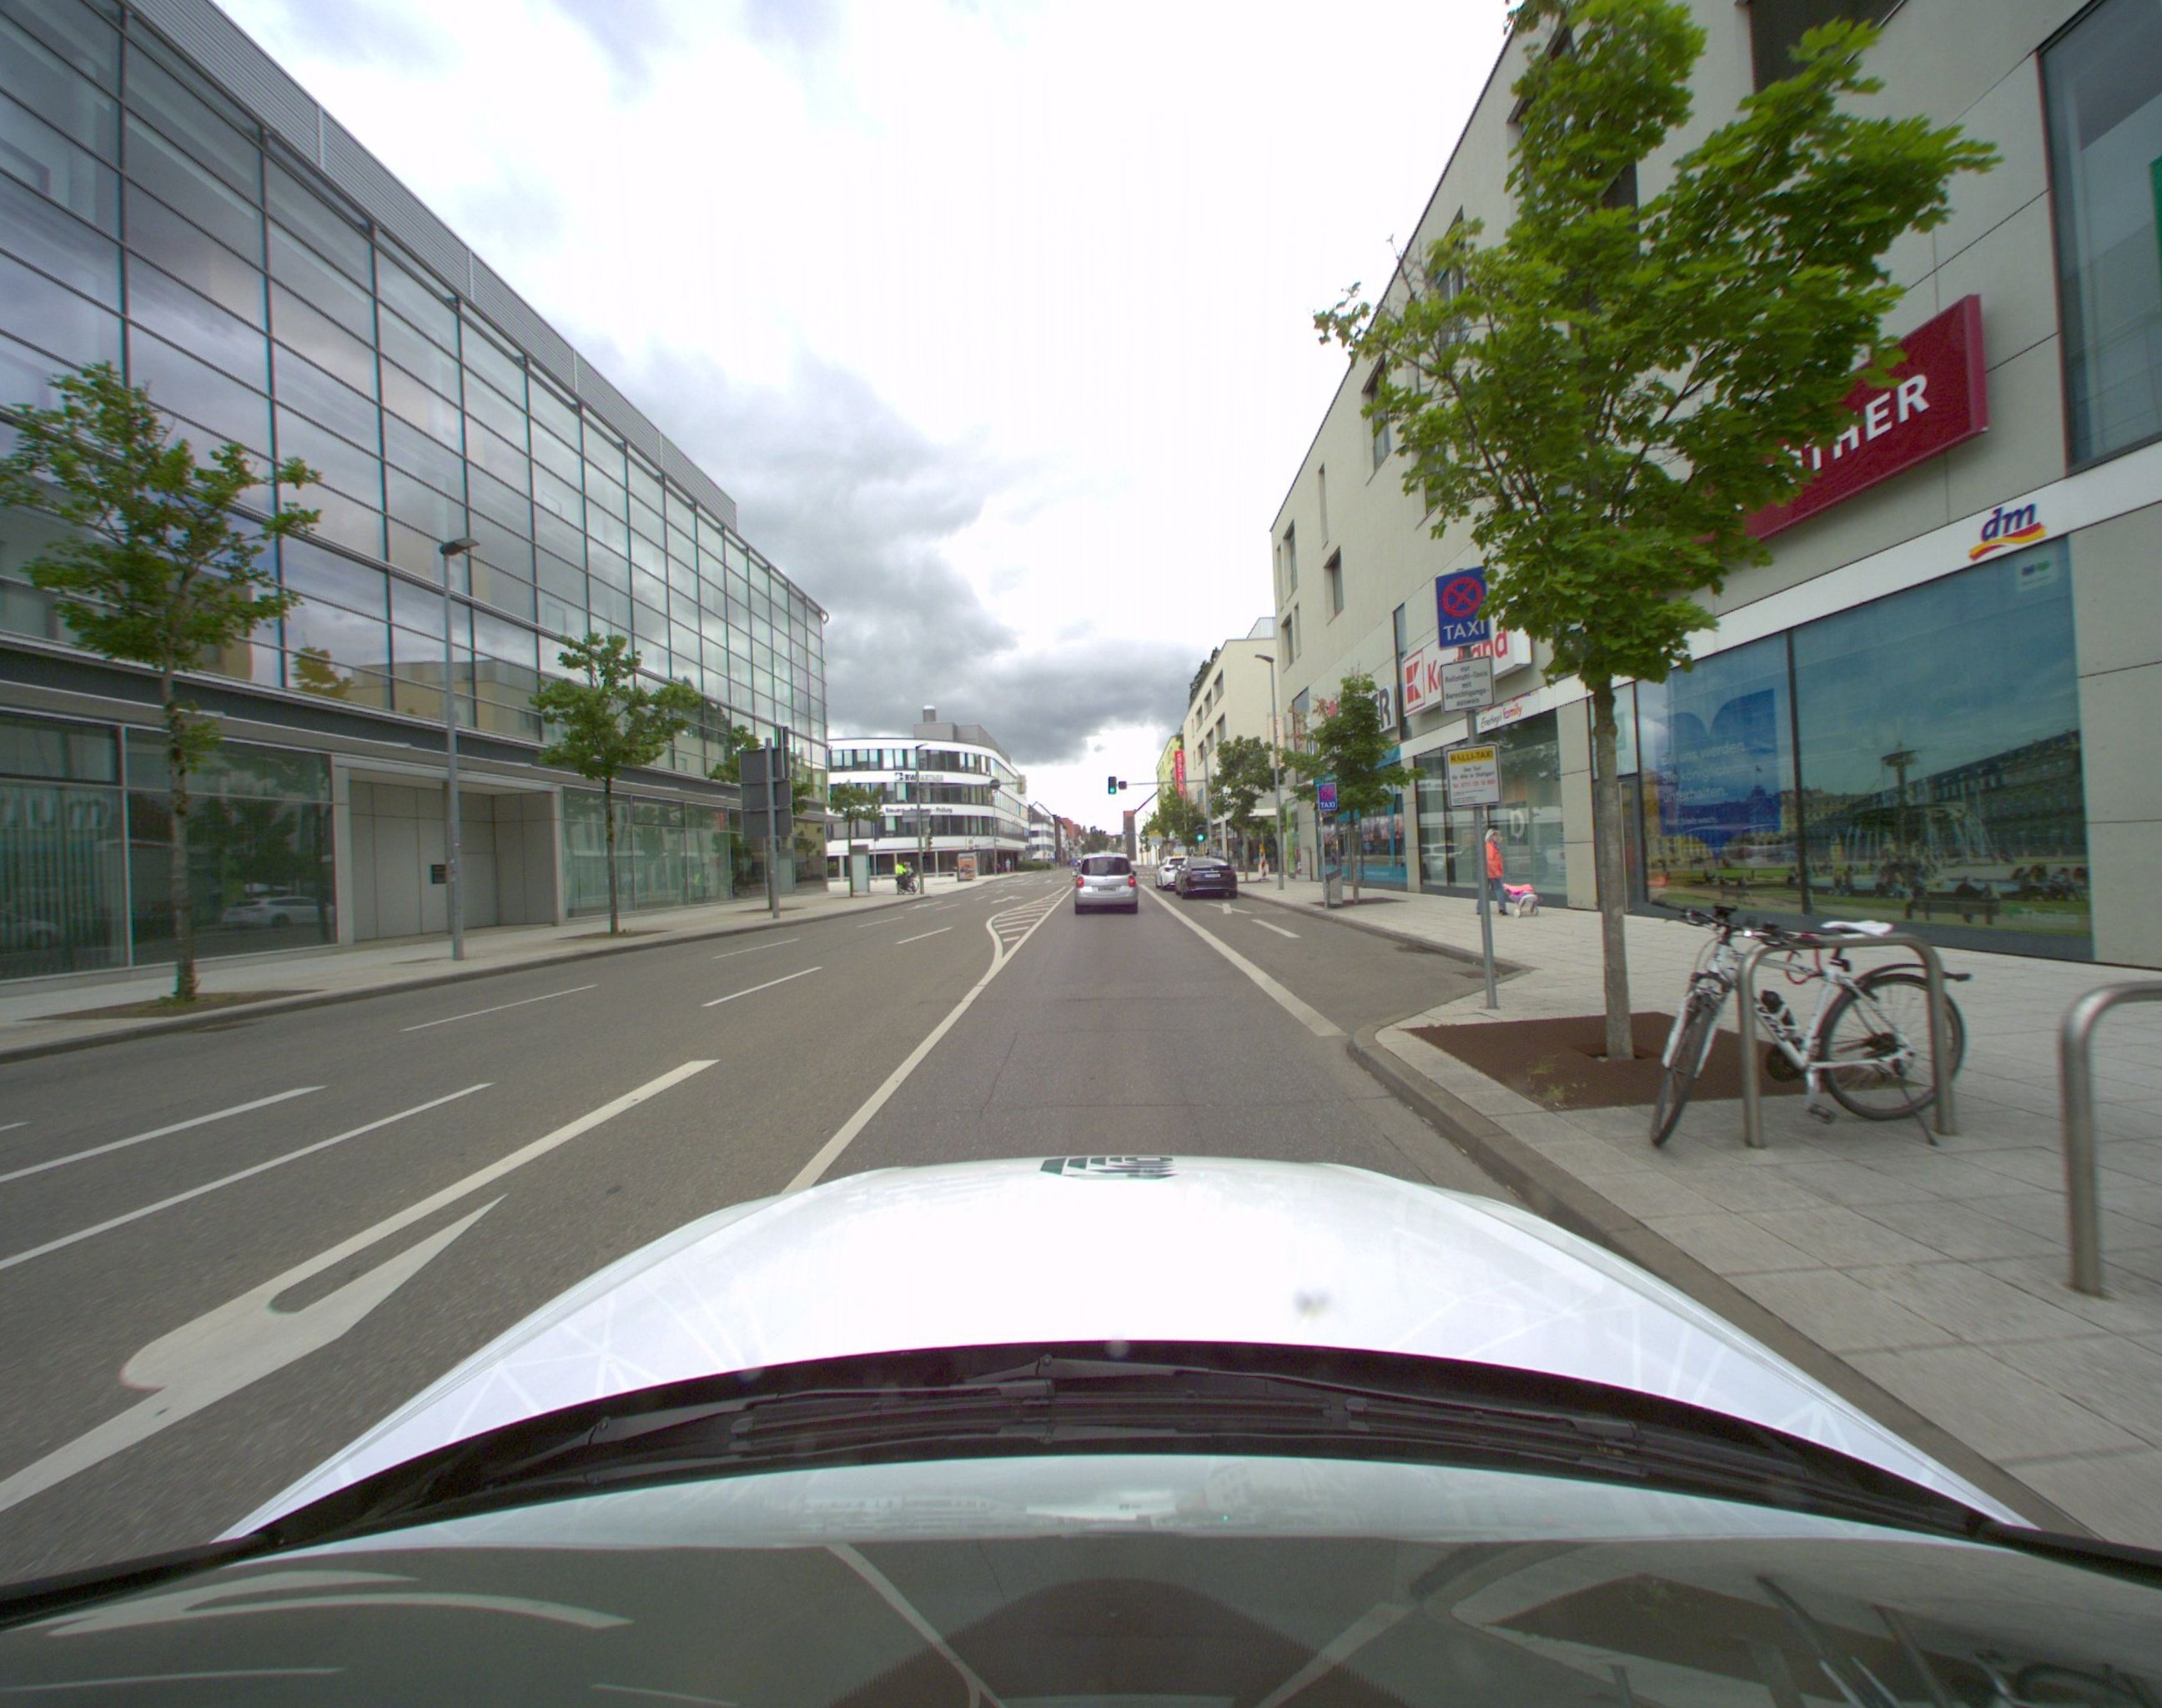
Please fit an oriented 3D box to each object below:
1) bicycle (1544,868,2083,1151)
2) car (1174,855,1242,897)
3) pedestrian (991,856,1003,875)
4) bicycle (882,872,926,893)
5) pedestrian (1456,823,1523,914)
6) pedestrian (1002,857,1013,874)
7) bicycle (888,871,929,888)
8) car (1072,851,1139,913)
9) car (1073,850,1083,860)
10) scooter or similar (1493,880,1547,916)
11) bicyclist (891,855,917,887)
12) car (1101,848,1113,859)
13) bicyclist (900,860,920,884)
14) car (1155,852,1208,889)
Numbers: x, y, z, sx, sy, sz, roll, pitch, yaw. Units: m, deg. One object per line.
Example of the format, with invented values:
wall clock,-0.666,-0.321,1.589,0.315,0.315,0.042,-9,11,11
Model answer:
bicycle,3.320,0.664,3.825,1.819,1.074,0.752,-3,0,-1
car,4.307,0.719,28.143,1.870,1.335,4.002,0,0,2
pedestrian,-8.342,1.136,80.989,0.957,1.833,1.251,-3,0,1
bicycle,-9.323,1.468,42.740,1.014,1.018,3.094,1,-1,-39
pedestrian,7.513,0.261,15.003,0.708,1.574,0.813,-5,0,1
pedestrian,-8.094,1.220,89.760,0.957,1.833,1.251,-3,0,1
bicycle,-9.736,1.466,45.997,2.493,0.898,0.835,-2,0,38
car,0.603,0.695,22.285,1.665,1.554,3.640,0,0,-1
car,-0.630,0.241,187.729,2.162,2.013,4.260,-3,0,2
scooter or similar,7.641,0.763,14.195,0.548,0.546,0.642,-5,0,1
bicyclist,-9.268,0.883,42.685,1.014,1.660,0.922,1,-1,-39
car,4.900,-0.114,155.391,2.162,2.013,4.260,-3,0,2
bicyclist,-9.614,1.012,45.893,0.643,1.327,0.835,-2,0,38
car,4.195,0.658,34.580,1.870,1.508,4.002,0,0,2
